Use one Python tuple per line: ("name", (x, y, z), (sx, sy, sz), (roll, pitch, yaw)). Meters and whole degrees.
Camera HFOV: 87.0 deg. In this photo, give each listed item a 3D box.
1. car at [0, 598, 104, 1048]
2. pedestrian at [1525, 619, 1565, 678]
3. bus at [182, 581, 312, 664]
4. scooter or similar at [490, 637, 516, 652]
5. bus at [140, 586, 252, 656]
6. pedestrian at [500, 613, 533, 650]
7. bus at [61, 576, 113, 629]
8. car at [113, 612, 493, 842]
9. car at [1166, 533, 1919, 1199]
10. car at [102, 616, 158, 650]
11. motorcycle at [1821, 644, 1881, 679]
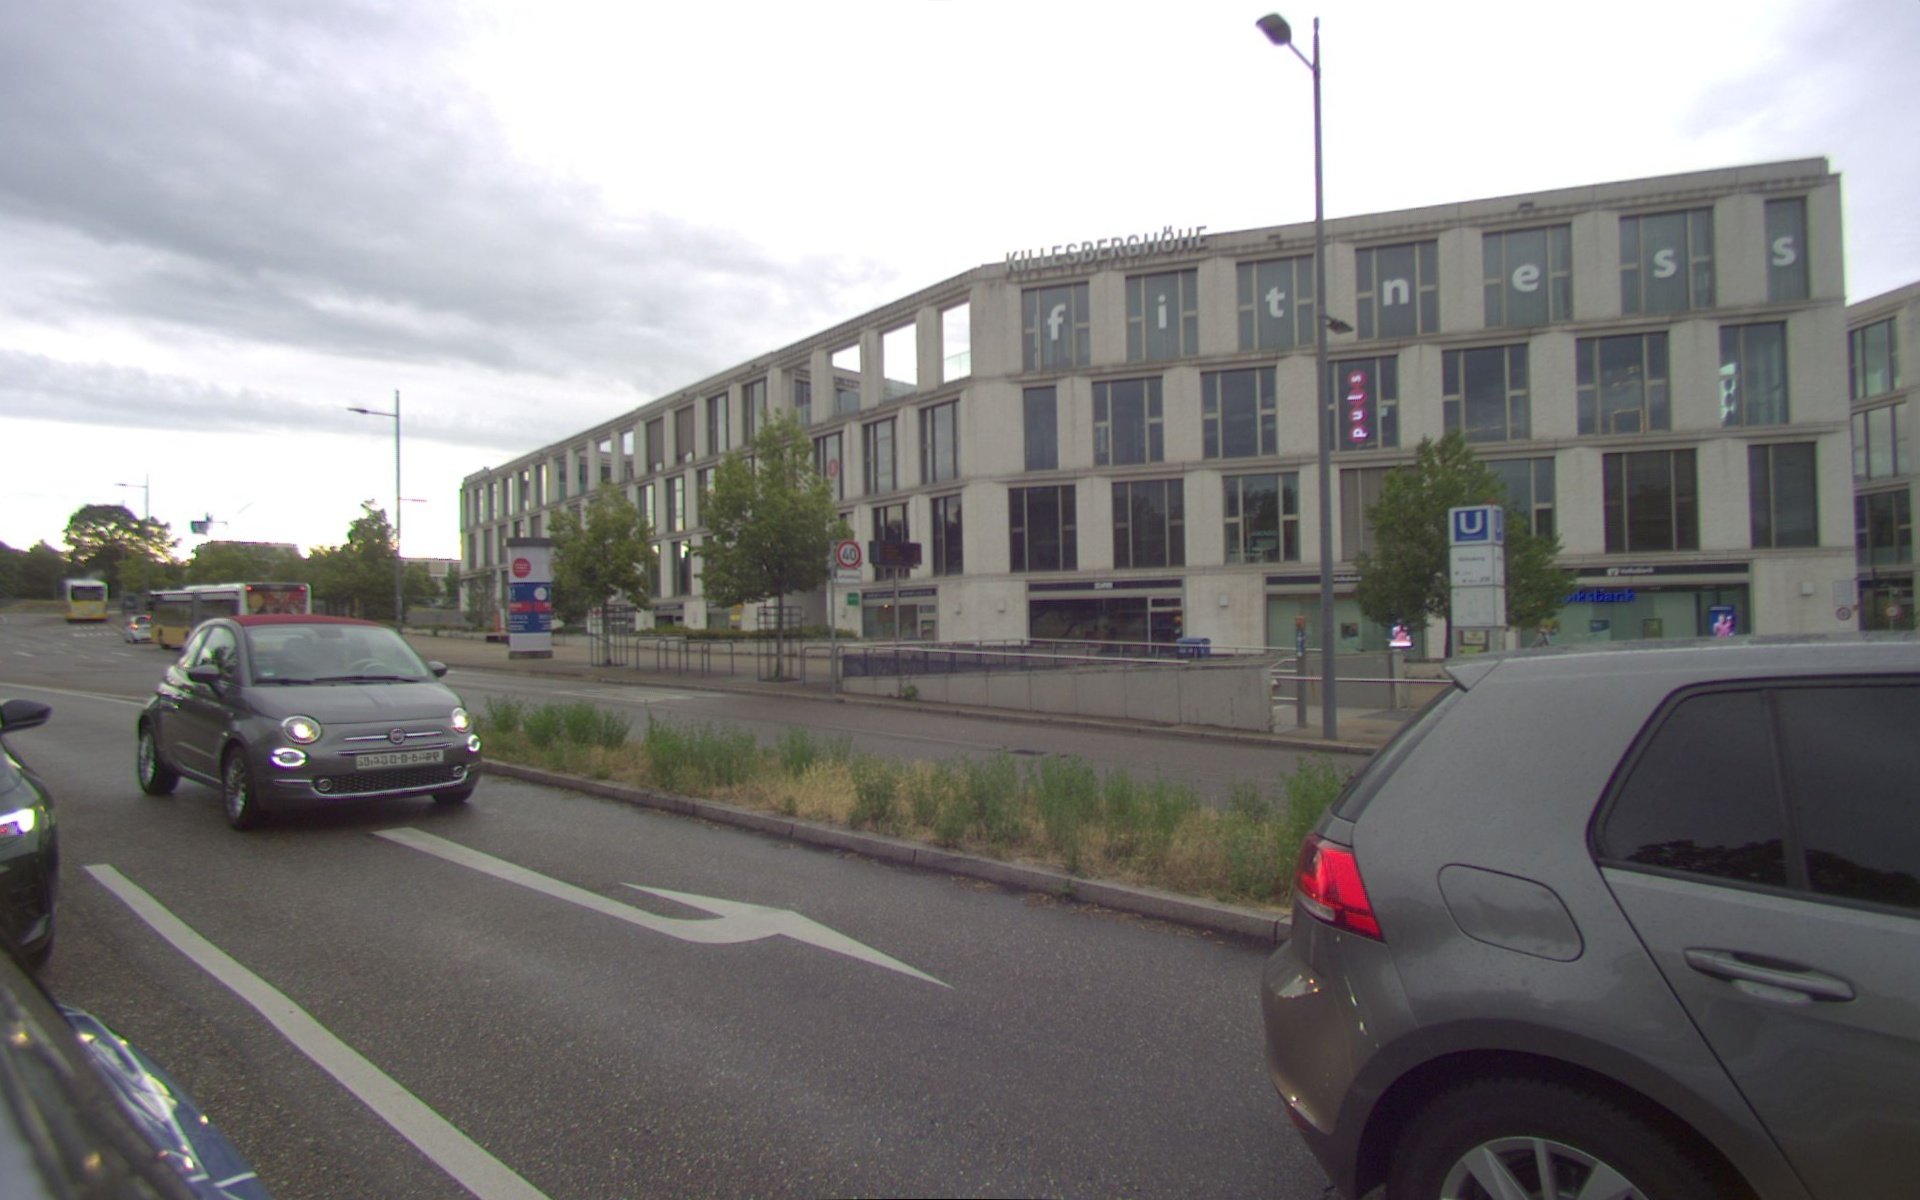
("car", (-5.388, 0.763, 4.388), (4.766, 1.476, 1.877), (-1, 0, 41))
("pedestrian", (16.395, 1.344, 28.365), (0.912, 1.617, 0.756), (-1, -2, 33))
("bus", (-31.135, 0.914, 43.982), (9.206, 3.236, 2.723), (-1, 0, 43))
("scooter or similar", (-19.498, 1.896, 43.162), (0.827, 0.656, 0.637), (-1, -1, 21))
("bus", (-38.161, 0.983, 50.389), (9.911, 3.205, 2.658), (-1, 0, 42))
("pedestrian", (-19.015, 1.344, 43.384), (0.973, 1.593, 0.864), (-1, 0, 10))
("bus", (-76.589, 0.260, 89.053), (2.717, 4.185, 19.383), (-1, 0, -39))
("car", (-5.477, 0.856, 8.303), (3.502, 1.492, 1.611), (-1, -1, 39))
("car", (2.677, 0.650, 1.434), (4.374, 1.492, 1.797), (-1, -2, 41))
("car", (-46.899, 1.825, 57.152), (3.998, 1.800, 1.843), (-1, 0, 41))
("motorcycle", (20.440, 1.406, 23.242), (0.517, 0.746, 1.098), (-1, 0, 9))
